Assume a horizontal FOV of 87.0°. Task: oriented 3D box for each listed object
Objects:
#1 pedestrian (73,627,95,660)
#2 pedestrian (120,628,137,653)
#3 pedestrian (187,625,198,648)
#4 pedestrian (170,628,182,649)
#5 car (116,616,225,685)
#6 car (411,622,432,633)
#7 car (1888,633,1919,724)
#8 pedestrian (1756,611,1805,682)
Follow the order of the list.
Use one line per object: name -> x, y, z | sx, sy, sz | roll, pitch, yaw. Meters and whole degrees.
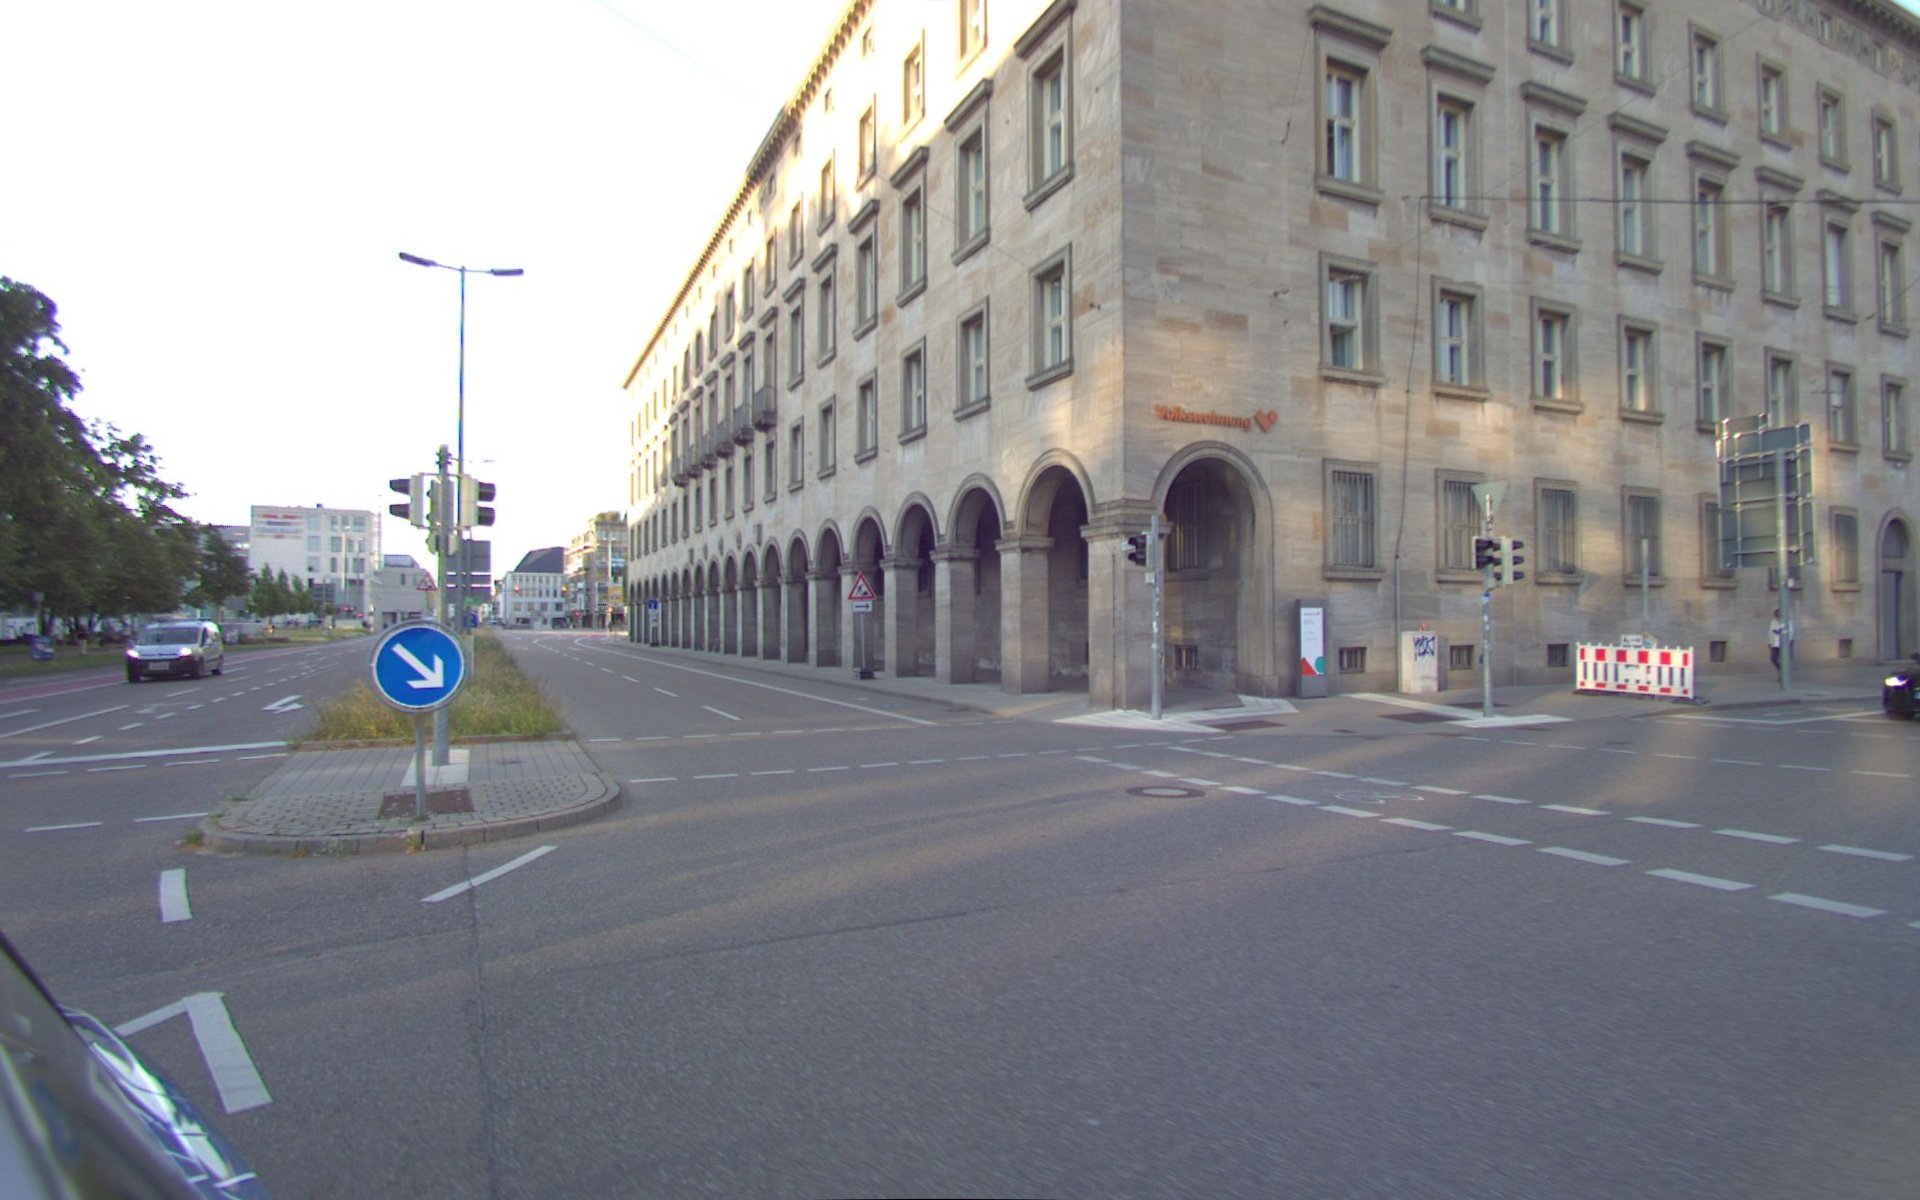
pedestrian -> -45.262, 2.246, 52.298 | 0.621, 1.675, 0.648 | 1, -2, -22
pedestrian -> -49.429, 2.373, 60.141 | 0.621, 1.474, 0.648 | 1, -2, -24
pedestrian -> -55.454, 2.632, 73.110 | 0.622, 1.678, 0.647 | 1, -2, -39
pedestrian -> -53.267, 2.627, 68.751 | 0.622, 1.406, 0.647 | 1, -2, -39
car -> -24.063, 1.490, 31.007 | 1.774, 1.926, 4.479 | 1, -2, -27
car -> -110.189, 5.565, 207.207 | 1.972, 2.029, 3.999 | -5, -2, 0
car -> 17.343, 1.257, 16.633 | 4.159, 1.438, 1.653 | 1, -2, -26
pedestrian -> 20.202, 1.136, 24.926 | 0.635, 1.723, 0.700 | 1, -2, -23
